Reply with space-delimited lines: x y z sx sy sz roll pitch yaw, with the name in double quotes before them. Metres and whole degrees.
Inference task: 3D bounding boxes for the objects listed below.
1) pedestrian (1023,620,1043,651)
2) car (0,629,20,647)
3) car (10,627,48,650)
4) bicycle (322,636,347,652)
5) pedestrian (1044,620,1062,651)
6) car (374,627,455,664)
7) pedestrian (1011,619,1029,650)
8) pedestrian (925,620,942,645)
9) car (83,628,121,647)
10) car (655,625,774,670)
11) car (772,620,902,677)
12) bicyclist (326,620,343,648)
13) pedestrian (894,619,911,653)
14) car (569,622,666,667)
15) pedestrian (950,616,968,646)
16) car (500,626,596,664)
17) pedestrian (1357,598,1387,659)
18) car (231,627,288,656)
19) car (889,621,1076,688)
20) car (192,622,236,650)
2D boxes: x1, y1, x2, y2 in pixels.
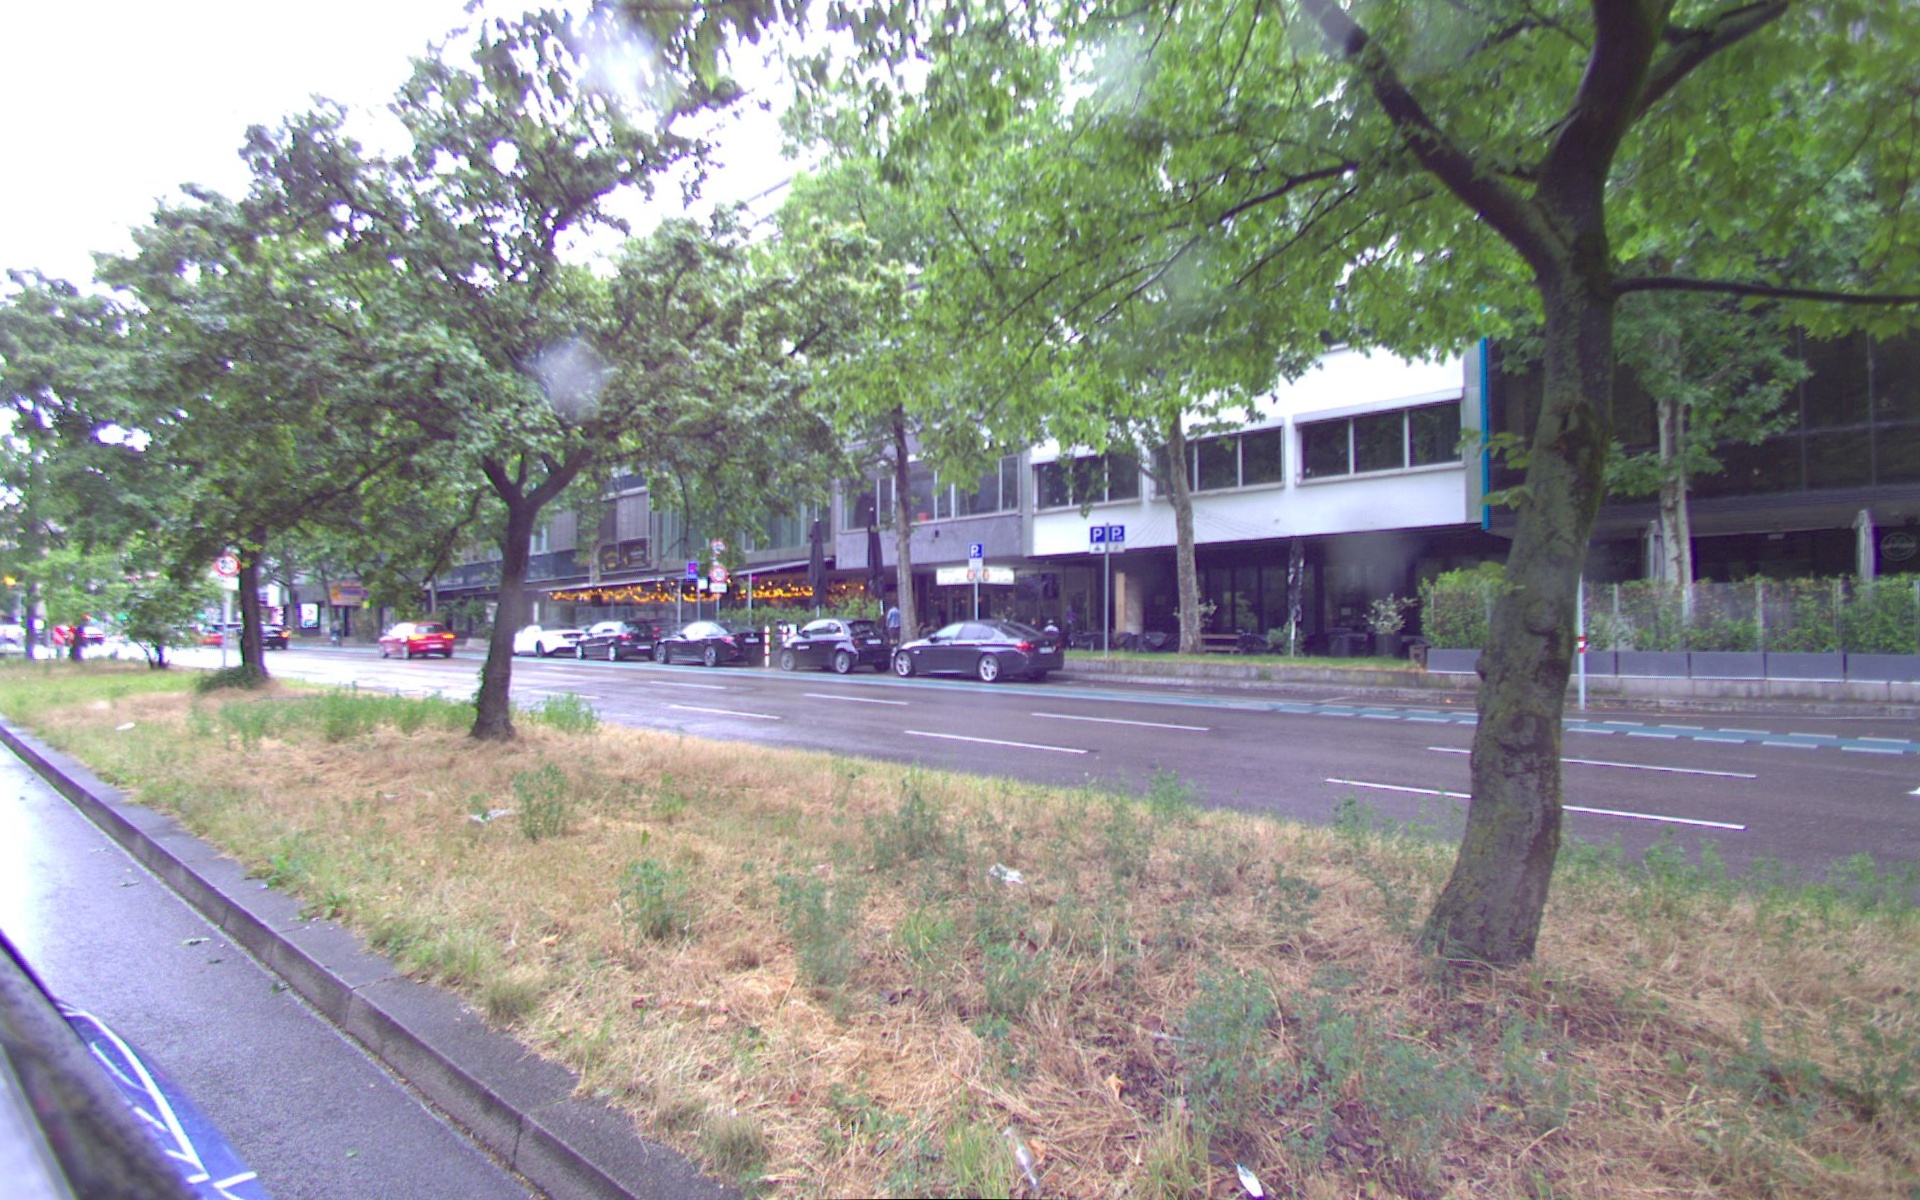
"pedestrian" 2.385 1.148 33.030 0.488 1.008 0.481 -1 0 26
"car" -77.873 3.078 82.270 3.524 1.400 1.657 -1 0 39
"car" -69.110 2.845 75.134 3.820 1.588 1.856 -1 0 44
"bicycle" -35.613 2.503 57.629 2.232 0.849 0.705 -1 0 45
"pedestrian" 3.023 1.151 32.907 0.451 0.970 0.454 -1 0 26
"car" -21.871 1.785 40.537 3.737 1.335 1.742 -1 0 42
"pedestrian" 1.977 1.138 33.485 0.461 1.000 0.455 -1 0 26
"pedestrian" -0.962 1.168 36.446 0.433 0.856 0.435 -1 0 39
"car" -68.343 2.939 80.610 3.524 1.400 1.657 -1 0 39
"car" -7.925 1.477 32.392 4.319 1.249 1.625 0 0 44
"car" -3.465 1.308 28.310 3.400 1.433 1.851 -1 0 42
"bicyclist" -35.602 1.942 57.616 0.609 1.582 0.705 -1 0 44
"pedestrian" -2.099 1.315 36.996 0.459 1.195 0.446 -1 0 -39
"car" -12.414 1.555 36.617 3.788 1.464 1.727 -1 0 42
"pedestrian" -0.045 1.080 35.418 0.423 1.024 0.459 -1 0 39
"car" -16.488 1.737 40.390 4.392 1.336 1.856 -1 0 42
"pedestrian" 11.491 0.780 28.225 0.623 1.660 0.598 -1 0 37
"car" -38.800 2.281 56.034 4.106 1.427 1.843 0 0 44
"car" 0.461 1.262 24.730 1.849 1.396 4.539 -1 0 -45
"car" -49.337 2.342 66.885 3.860 1.738 1.729 -1 0 44
